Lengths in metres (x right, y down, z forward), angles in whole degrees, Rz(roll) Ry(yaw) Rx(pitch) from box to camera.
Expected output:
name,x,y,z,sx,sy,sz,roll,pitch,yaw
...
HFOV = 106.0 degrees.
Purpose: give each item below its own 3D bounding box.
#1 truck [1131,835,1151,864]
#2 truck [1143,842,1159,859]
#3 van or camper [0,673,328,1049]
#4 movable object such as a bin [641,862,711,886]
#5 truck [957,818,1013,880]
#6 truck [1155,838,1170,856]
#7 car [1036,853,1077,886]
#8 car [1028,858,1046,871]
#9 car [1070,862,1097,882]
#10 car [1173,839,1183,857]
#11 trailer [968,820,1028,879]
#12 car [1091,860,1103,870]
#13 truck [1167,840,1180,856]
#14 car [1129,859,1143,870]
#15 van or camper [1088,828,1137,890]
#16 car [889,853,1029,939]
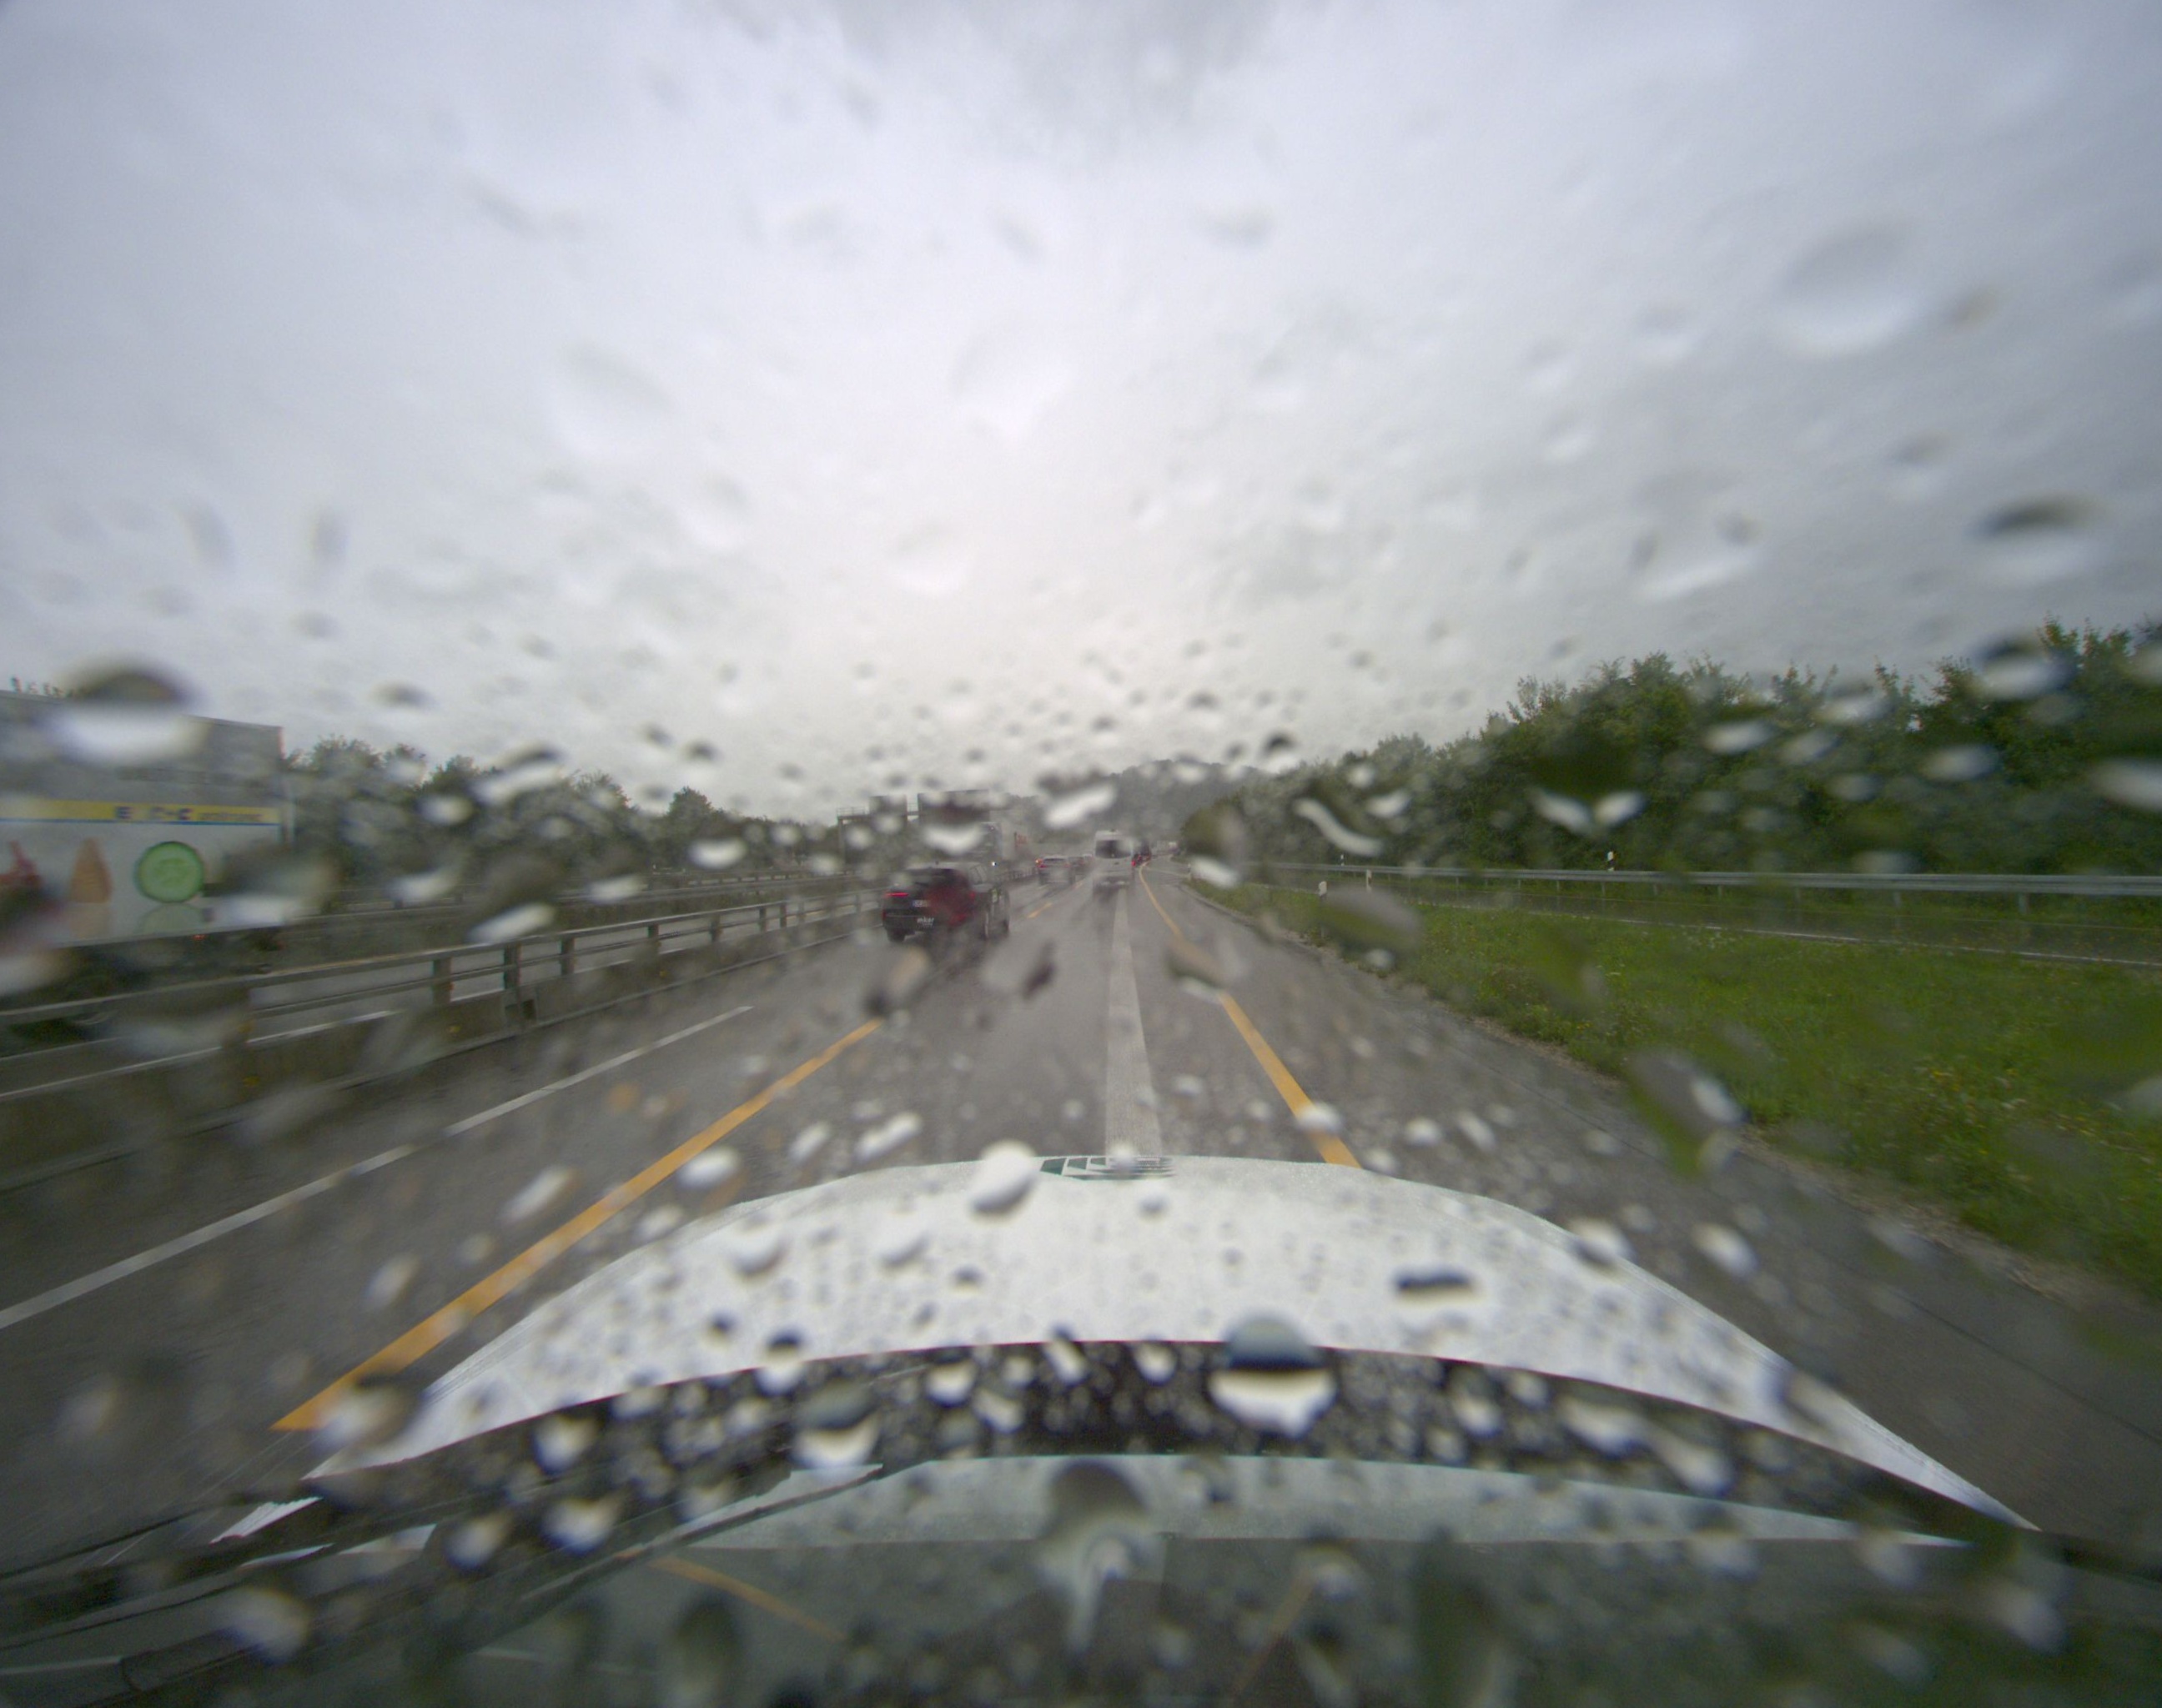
name,x,y,z,sx,sy,sz,roll,pitch,yaw
truck,10.506,-0.679,142.307,3.306,4.785,9.914,0,-1,3
truck,15.728,-0.759,182.864,3.306,3.762,9.914,0,-1,3
van or camper,-9.910,0.046,5.999,2.285,3.041,6.701,0,-1,2
movable object such as a bin,-24.832,1.194,50.149,2.117,1.425,4.003,0,-1,3
truck,-6.949,-0.328,59.956,2.876,4.232,6.331,-2,-1,3
truck,22.280,-1.913,221.989,3.907,4.785,9.927,0,-1,8
car,-1.274,0.830,44.728,1.859,1.659,3.992,-1,0,3
car,-5.133,1.208,95.483,1.601,1.504,4.219,0,-1,3
car,0.249,1.370,63.755,1.844,1.500,4.004,-1,0,4
car,23.055,-1.451,194.247,2.048,4.192,6.756,-1,0,5
trailer,-6.576,-0.266,66.840,2.881,4.286,12.904,-2,-1,3
car,1.747,1.189,87.222,1.258,1.078,3.255,-1,0,2
truck,29.683,-1.960,260.218,3.907,4.785,9.927,0,-1,8
car,6.433,1.219,95.668,1.380,1.256,3.121,-1,0,-1
van or camper,1.546,0.223,38.702,2.130,2.721,4.652,-1,0,4
car,-2.179,0.713,15.901,1.932,1.427,4.760,0,0,1
